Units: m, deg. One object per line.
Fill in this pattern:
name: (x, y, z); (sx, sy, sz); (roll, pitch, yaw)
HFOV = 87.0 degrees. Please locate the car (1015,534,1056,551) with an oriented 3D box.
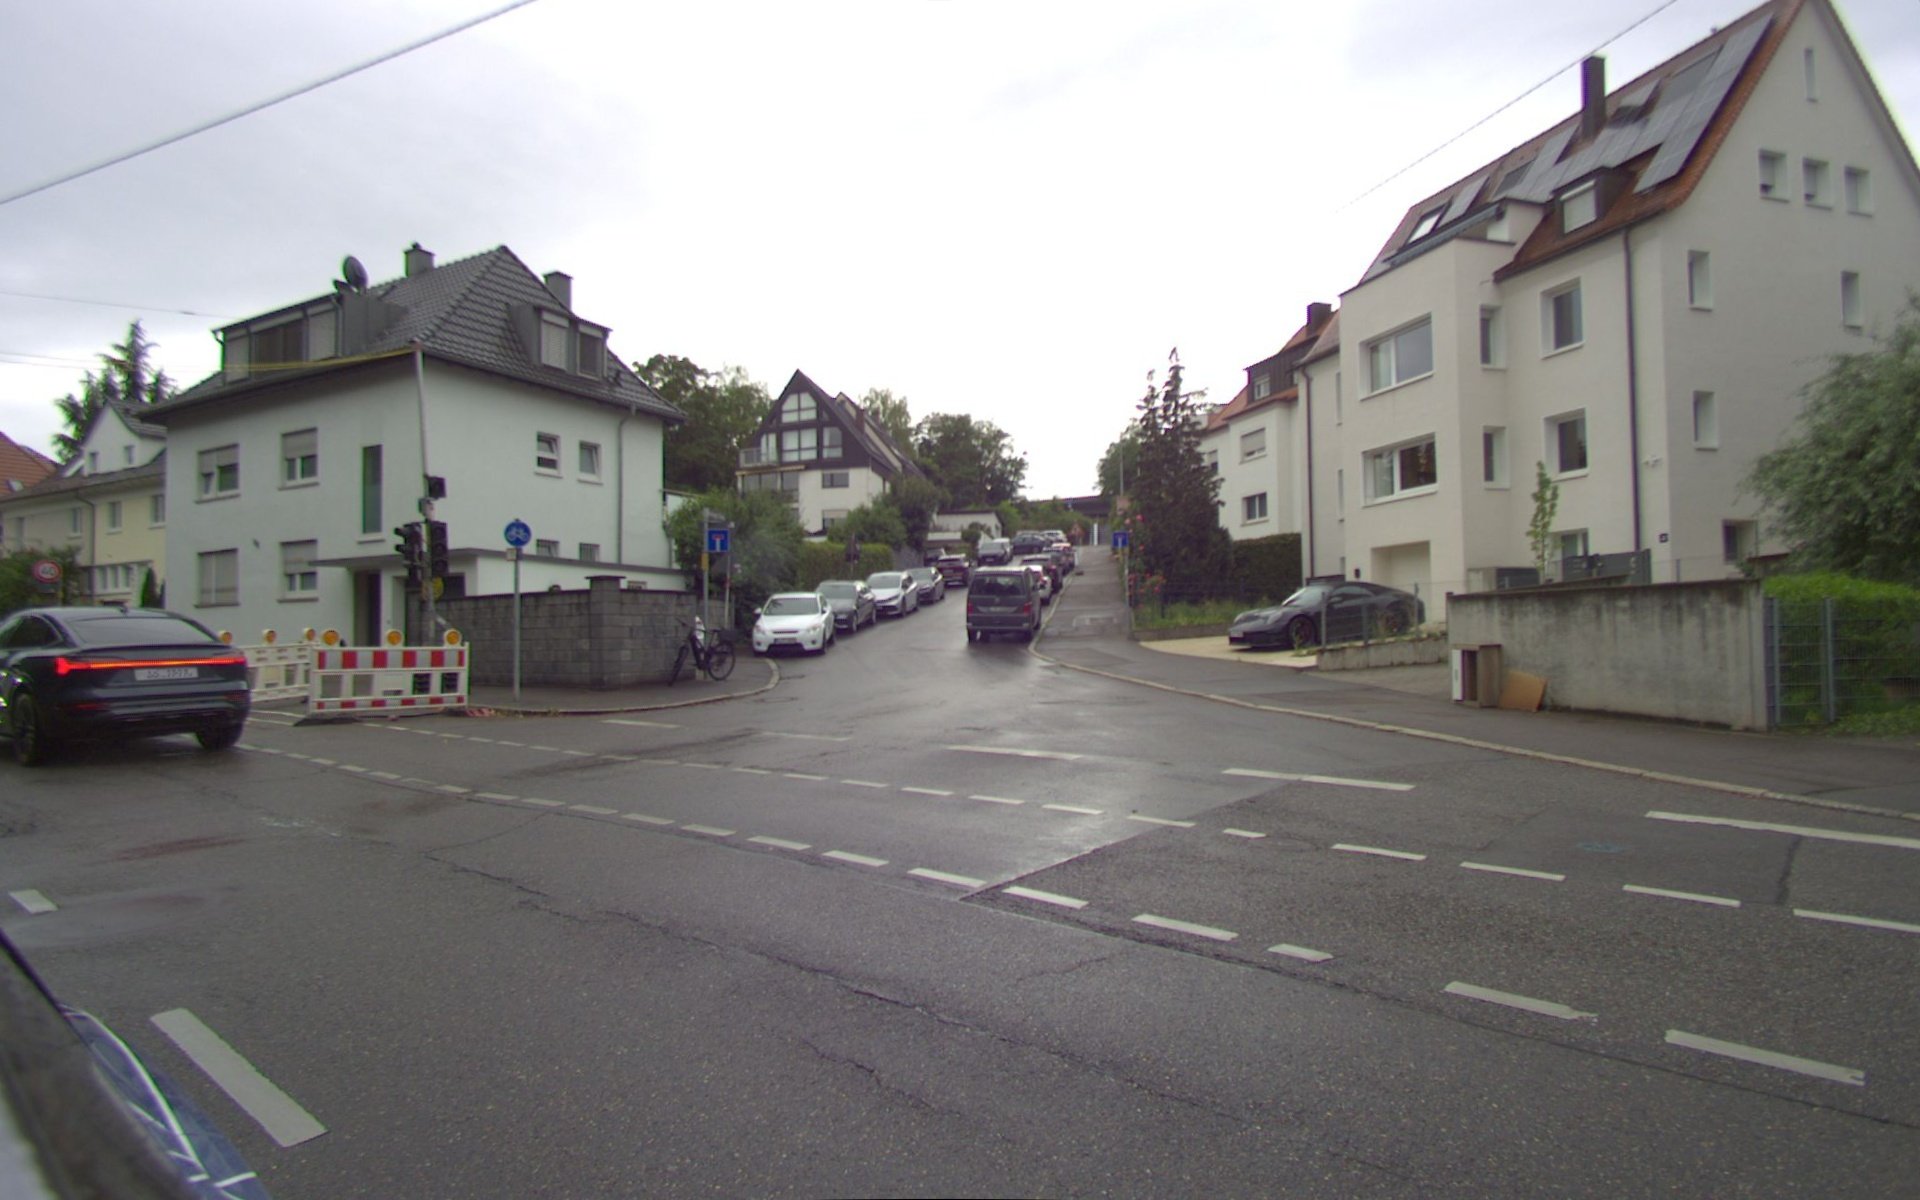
car: (7.388, -5.606, 98.788); (3.922, 1.528, 1.748); (-1, 0, 6)

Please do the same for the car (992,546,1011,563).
car: (3.056, -3.339, 74.711); (1.292, 1.206, 2.980); (-1, 3, 5)

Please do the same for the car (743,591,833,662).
car: (-4.354, 0.621, 26.156); (1.827, 1.473, 4.124); (-1, 3, -3)

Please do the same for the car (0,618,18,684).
car: (-26.153, 1.315, 25.774); (4.131, 1.653, 1.782); (-1, -1, 25)

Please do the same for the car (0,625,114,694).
car: (-21.469, 1.332, 23.382); (3.833, 1.443, 1.768); (-1, -1, 30)

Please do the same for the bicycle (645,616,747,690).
bicycle: (-4.786, 0.929, 18.458); (0.508, 1.249, 1.984); (1, 0, 32)

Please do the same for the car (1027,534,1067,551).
car: (8.936, -5.917, 103.914); (3.782, 1.529, 1.664); (-1, 0, 15)

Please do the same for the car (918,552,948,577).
car: (-1.828, -2.430, 69.793); (1.793, 1.566, 4.009); (-1, 0, 3)

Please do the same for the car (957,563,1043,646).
car: (1.242, 0.046, 29.326); (1.978, 2.028, 4.482); (-1, 4, 9)

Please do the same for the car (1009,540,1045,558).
car: (5.551, -4.212, 83.654); (2.914, 1.328, 1.282); (-1, 0, 4)

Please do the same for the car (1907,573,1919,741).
car: (10.605, 0.421, 8.549); (3.934, 1.497, 1.780); (-2, -1, -12)

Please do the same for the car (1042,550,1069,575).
car: (5.501, -2.153, 58.112); (1.274, 1.325, 2.984); (-1, 3, 10)

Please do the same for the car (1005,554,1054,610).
car: (2.819, -0.760, 40.324); (1.686, 1.843, 4.194); (-1, 6, 7)

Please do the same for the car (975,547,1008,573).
car: (2.194, -2.681, 68.886); (1.770, 1.531, 4.016); (-1, 0, 9)

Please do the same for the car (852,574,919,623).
car: (-2.658, -0.090, 37.087); (1.738, 1.481, 3.940); (-1, 4, 6)

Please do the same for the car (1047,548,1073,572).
car: (6.236, -2.458, 62.848); (1.488, 1.373, 3.465); (-1, 0, 8)

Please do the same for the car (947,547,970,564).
car: (-0.084, -3.271, 74.021); (1.559, 1.220, 3.650); (-1, 3, 2)

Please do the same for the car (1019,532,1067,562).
car: (7.200, -4.577, 87.643); (3.954, 2.028, 1.995); (-5, -1, 8)

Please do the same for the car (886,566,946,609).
car: (-1.807, -0.560, 42.960); (1.903, 1.448, 4.100); (-1, 5, 7)

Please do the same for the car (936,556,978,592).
car: (-0.115, -1.371, 52.465); (1.623, 1.637, 3.992); (-1, 5, 8)

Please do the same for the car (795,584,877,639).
car: (-3.828, 0.315, 31.818); (1.702, 1.397, 3.900); (-1, 4, 6)

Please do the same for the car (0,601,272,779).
car: (-10.174, 0.899, 11.711); (4.673, 1.687, 1.978); (-1, -1, 32)

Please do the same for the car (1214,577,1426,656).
car: (7.707, 0.330, 21.773); (3.942, 1.290, 1.613); (-5, 1, -13)

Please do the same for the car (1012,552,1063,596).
car: (3.520, -1.200, 45.376); (1.823, 1.699, 4.039); (-1, 5, 11)
